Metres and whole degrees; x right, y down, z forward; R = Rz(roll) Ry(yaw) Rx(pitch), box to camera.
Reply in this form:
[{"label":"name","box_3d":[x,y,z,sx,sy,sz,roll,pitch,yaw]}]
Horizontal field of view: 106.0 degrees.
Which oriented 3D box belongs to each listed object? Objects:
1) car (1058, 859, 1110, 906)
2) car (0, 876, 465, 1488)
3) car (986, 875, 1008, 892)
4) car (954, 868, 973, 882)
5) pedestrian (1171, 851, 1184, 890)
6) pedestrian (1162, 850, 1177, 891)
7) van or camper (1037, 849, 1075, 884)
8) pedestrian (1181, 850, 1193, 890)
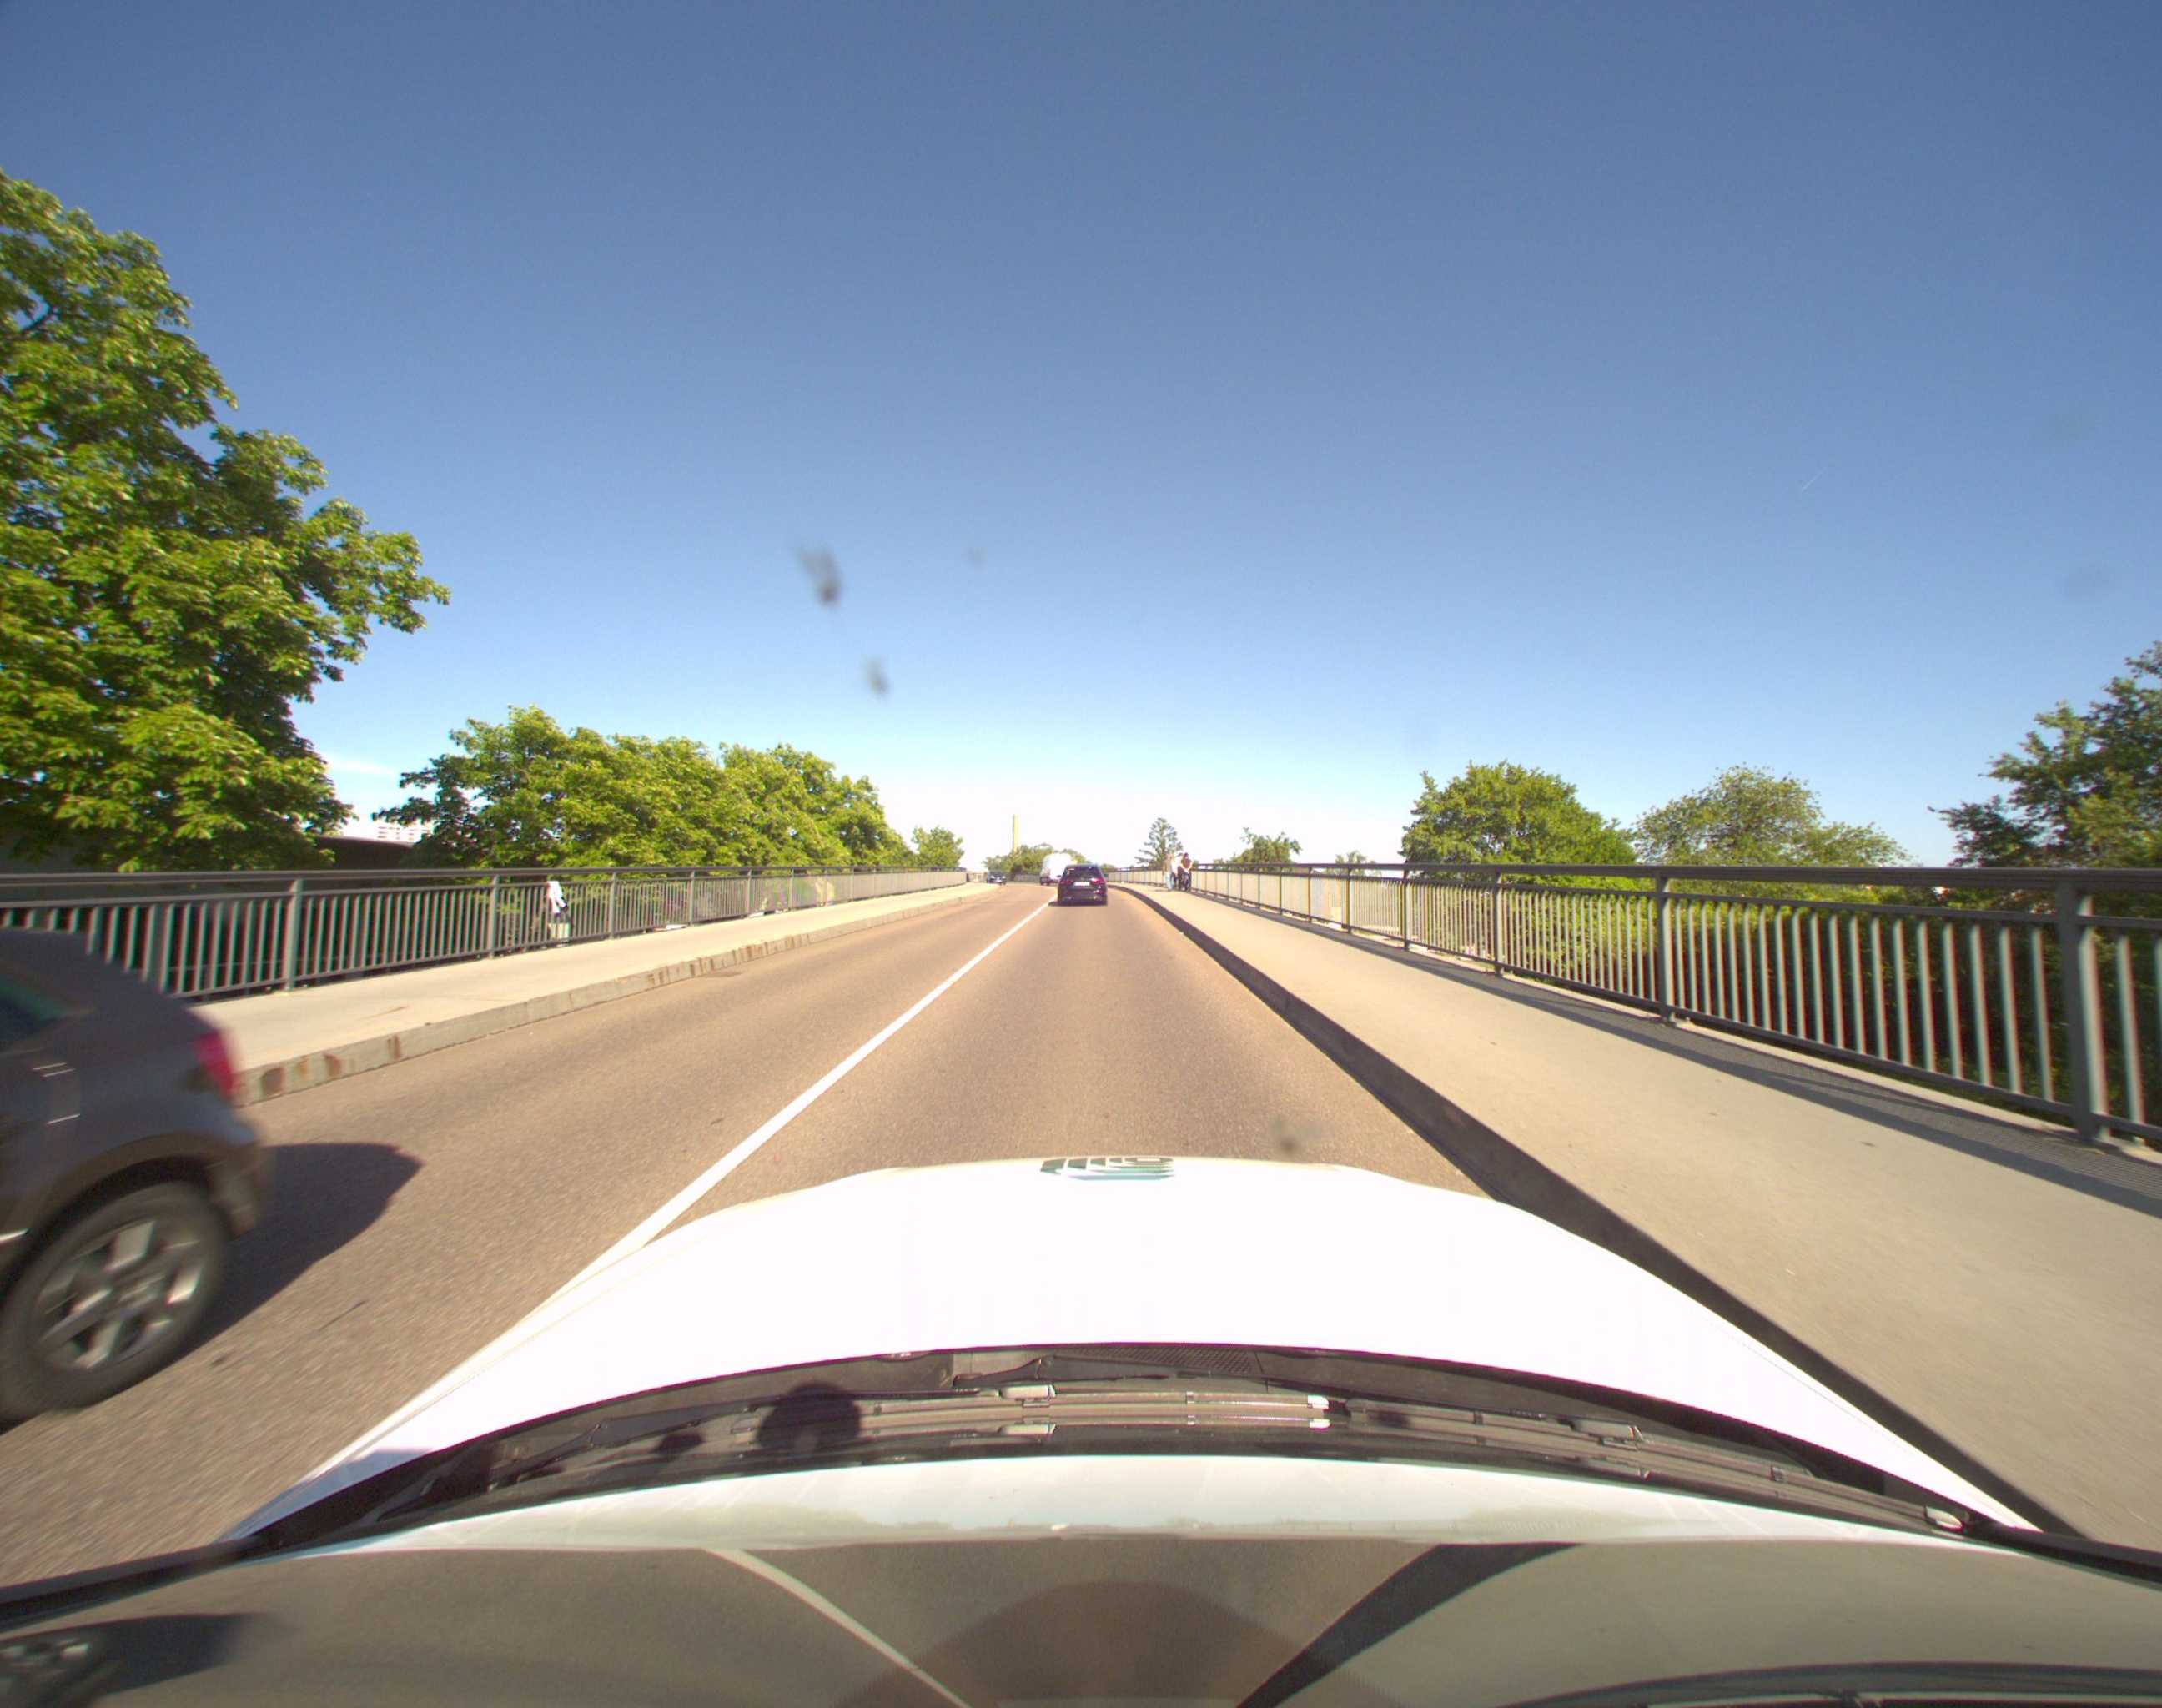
[{"label":"car","box_3d":[0.048,0.993,30.189,1.765,1.592,3.985,1,0,-2]},{"label":"car","box_3d":[-3.566,0.844,1.497,1.764,1.474,3.989,-2,0,1]},{"label":"car","box_3d":[-8.538,2.998,83.029,1.763,1.593,3.989,1,-1,1]},{"label":"car","box_3d":[-16.154,2.868,111.747,1.854,1.798,3.973,-1,1,-21]},{"label":"pedestrian","box_3d":[4.365,0.740,36.912,0.547,1.750,0.738,1,-3,1]},{"label":"pedestrian","box_3d":[3.891,0.736,36.003,0.600,1.750,0.717,1,-3,1]},{"label":"van or camper","box_3d":[-2.260,1.174,71.038,2.226,2.740,7.053,1,-3,-10]},{"label":"pedestrian","box_3d":[4.700,0.712,36.120,0.470,1.750,0.654,1,-3,1]}]
